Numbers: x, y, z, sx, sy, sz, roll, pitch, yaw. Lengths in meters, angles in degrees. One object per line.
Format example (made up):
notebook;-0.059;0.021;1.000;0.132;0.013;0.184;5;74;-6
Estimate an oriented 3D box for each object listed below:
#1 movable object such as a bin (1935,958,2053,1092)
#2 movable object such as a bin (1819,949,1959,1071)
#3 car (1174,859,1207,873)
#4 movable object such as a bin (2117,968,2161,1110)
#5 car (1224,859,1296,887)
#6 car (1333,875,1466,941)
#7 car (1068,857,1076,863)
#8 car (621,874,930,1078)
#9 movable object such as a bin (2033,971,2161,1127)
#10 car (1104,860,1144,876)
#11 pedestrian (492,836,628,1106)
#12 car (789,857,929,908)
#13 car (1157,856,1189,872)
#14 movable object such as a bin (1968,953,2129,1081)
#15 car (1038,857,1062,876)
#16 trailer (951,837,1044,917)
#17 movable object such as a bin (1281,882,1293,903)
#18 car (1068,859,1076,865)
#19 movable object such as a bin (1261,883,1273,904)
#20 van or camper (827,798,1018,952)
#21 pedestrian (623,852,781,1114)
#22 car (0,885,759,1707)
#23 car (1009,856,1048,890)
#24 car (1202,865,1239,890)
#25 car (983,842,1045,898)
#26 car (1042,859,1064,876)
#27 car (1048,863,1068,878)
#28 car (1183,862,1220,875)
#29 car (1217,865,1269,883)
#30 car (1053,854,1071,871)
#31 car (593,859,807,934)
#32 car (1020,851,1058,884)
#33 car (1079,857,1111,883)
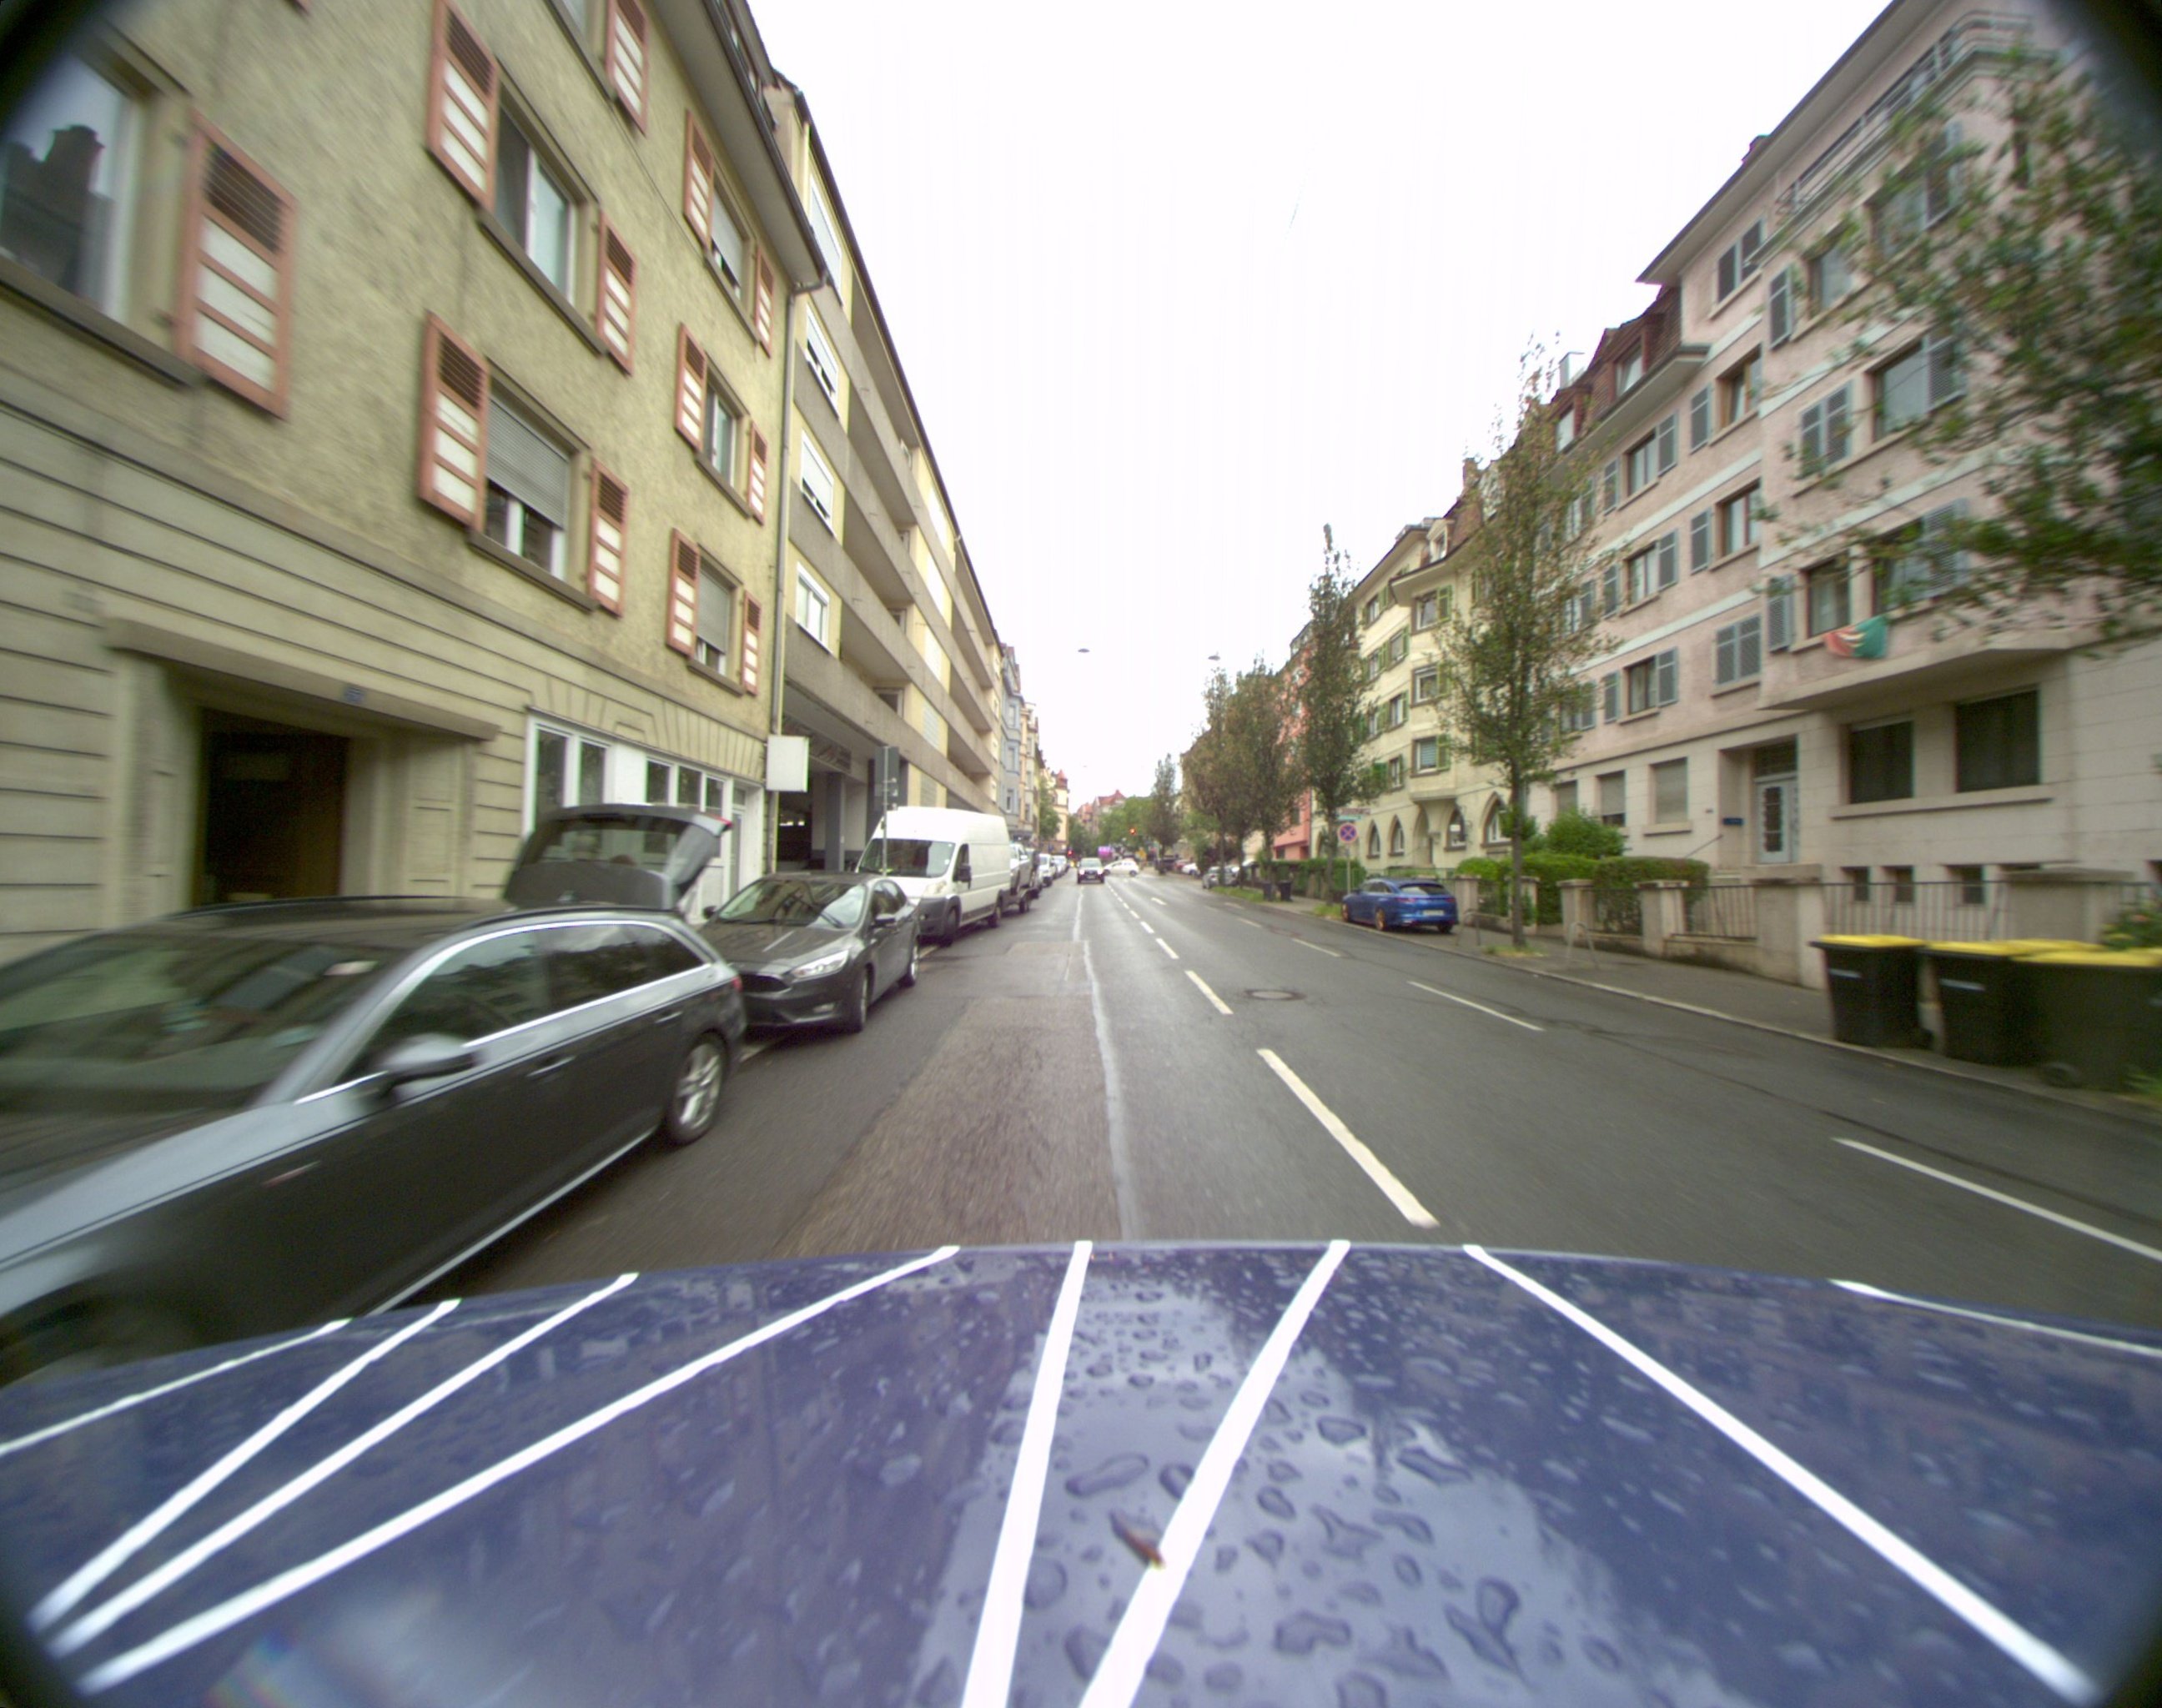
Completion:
movable object such as a bin;8.062;1.492;6.722;0.472;1.052;0.483;-2;1;-9
movable object such as a bin;7.807;1.493;7.361;0.827;1.052;0.483;-2;1;1
car;13.873;1.471;96.228;3.928;1.613;1.592;2;1;1
movable object such as a bin;8.635;1.463;5.933;0.472;1.052;0.483;-2;1;-9
car;12.907;1.346;54.915;4.731;1.893;1.918;0;1;-2
car;8.512;1.377;20.777;1.683;1.378;4.602;1;1;0
car;-2.019;1.325;174.009;1.553;1.386;3.745;2;0;1
car;-2.851;1.035;8.167;1.782;1.471;4.188;1;1;-3
movable object such as a bin;7.978;1.502;5.967;0.526;1.052;0.482;-2;1;-21
car;4.139;1.329;72.783;3.648;1.463;1.671;0;1;6
pedestrian;-3.708;0.779;5.470;0.688;1.777;0.711;2;1;-29
car;-7.101;0.903;24.533;3.996;1.383;1.558;3;0;2
car;11.979;1.287;99.076;3.930;1.836;1.867;2;1;-2
movable object such as a bin;8.775;1.468;6.911;0.827;1.052;0.483;-1;1;1
car;-2.499;1.039;62.468;1.731;1.433;4.358;2;0;1
trailer;-2.479;0.688;23.847;1.998;2.139;5.074;3;-1;3
movable object such as a bin;9.068;1.696;33.410;0.365;0.906;0.572;-1;1;0
car;-2.010;1.813;173.604;1.553;1.386;3.745;2;0;1
movable object such as a bin;8.125;1.732;33.224;0.365;0.884;0.572;-1;0;0
van or camper;-3.099;0.398;16.729;2.189;2.683;6.423;2;0;6
pedestrian;-2.720;0.877;5.459;0.630;1.681;0.637;9;3;39
car;-3.073;0.982;2.819;1.782;1.471;4.587;1;1;0
car;-2.713;0.959;40.010;1.751;1.630;4.273;2;0;0
car;9.000;1.484;49.334;1.685;1.409;4.138;2;0;1
car;-2.774;0.630;32.874;2.159;2.136;5.509;2;0;0
car;-2.509;1.166;68.201;1.709;1.433;3.933;2;0;1
car;-2.238;1.630;75.255;1.709;1.388;3.933;-2;0;1
car;13.597;1.675;85.938;3.928;1.289;1.646;2;1;1
car;13.496;1.659;63.431;3.931;1.389;1.724;2;1;-6
car;-2.117;0.922;86.569;1.826;1.808;4.520;2;0;1
car;-8.207;0.919;16.672;3.662;1.383;1.898;3;-2;-4
car;-2.592;0.801;47.890;1.994;1.944;4.822;2;0;0
car;0.898;1.056;50.717;1.890;1.543;3.999;-2;1;-1
